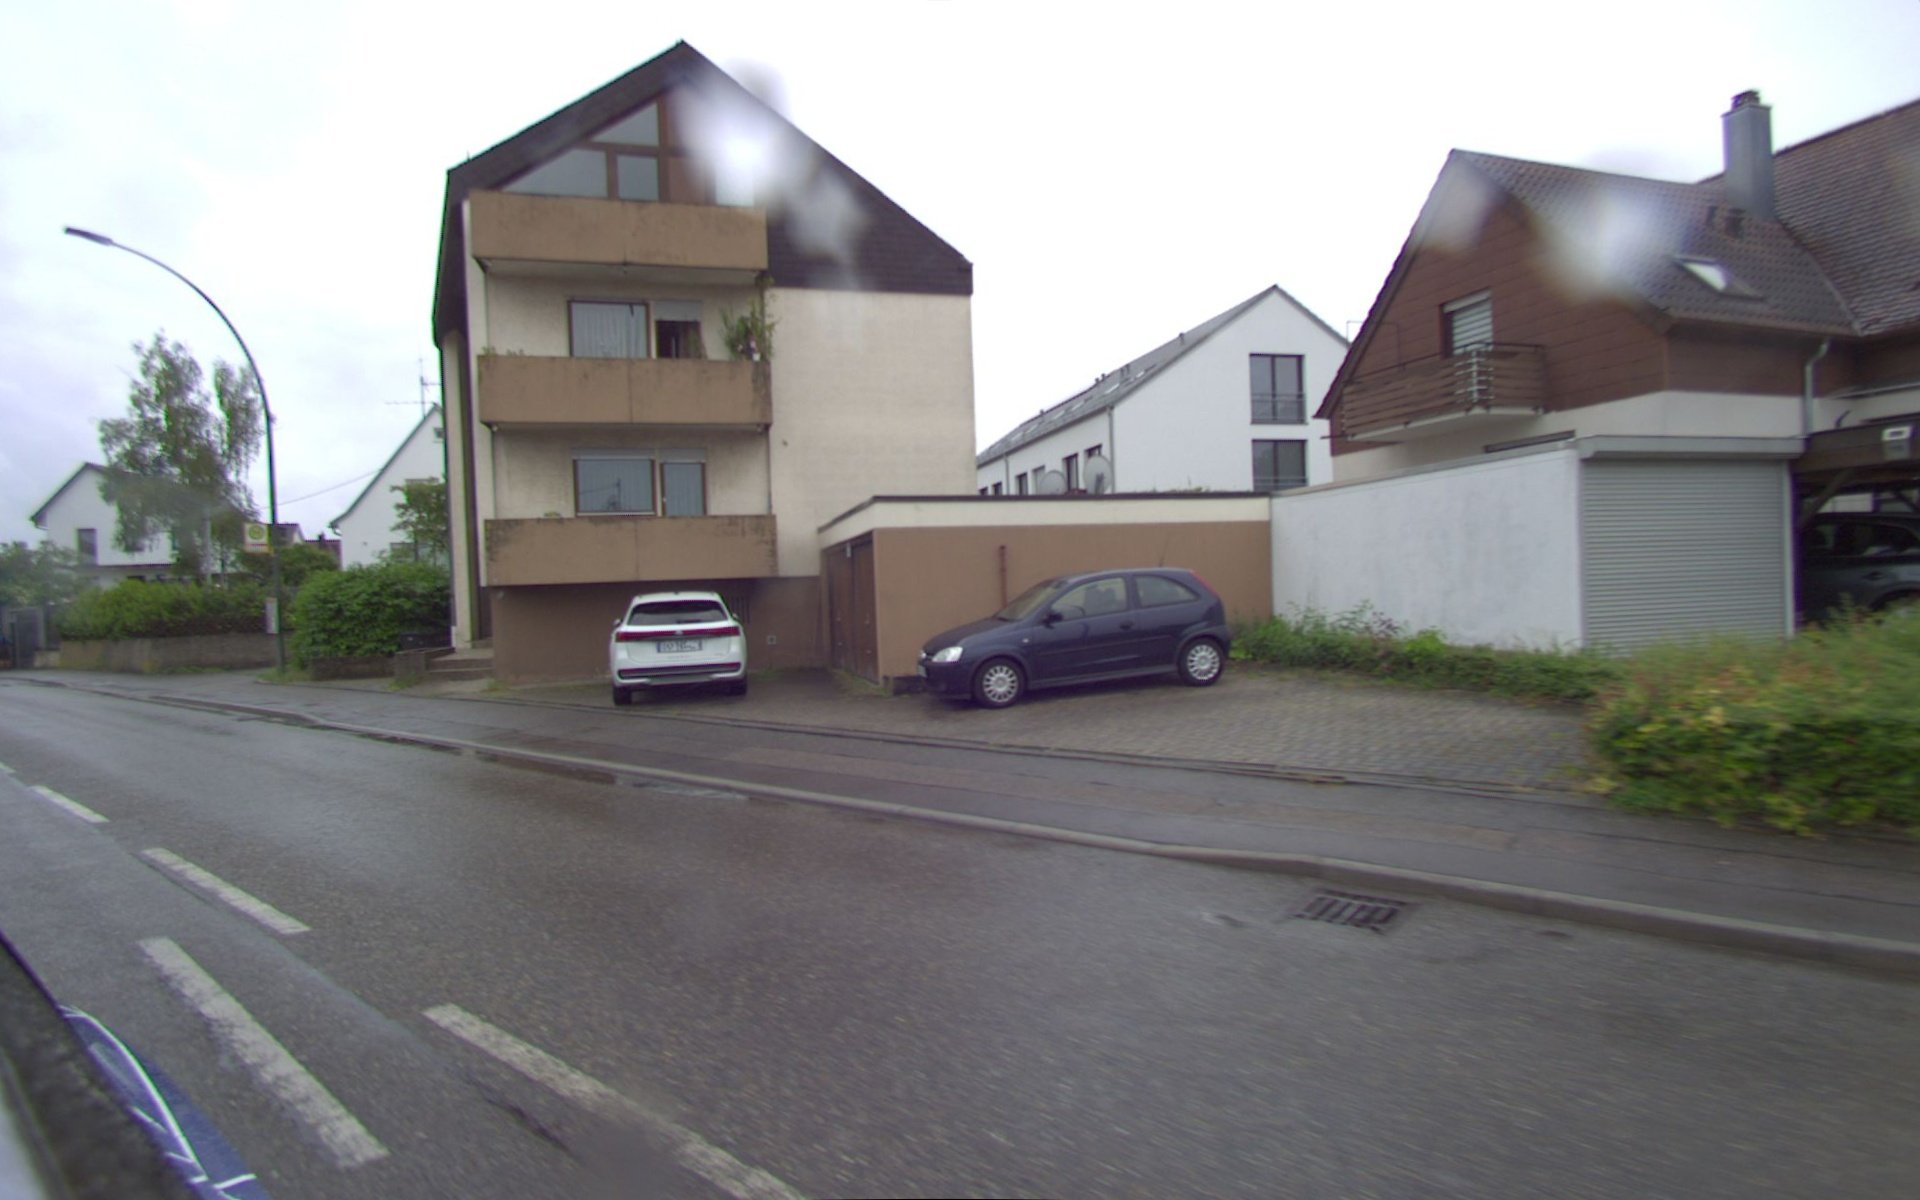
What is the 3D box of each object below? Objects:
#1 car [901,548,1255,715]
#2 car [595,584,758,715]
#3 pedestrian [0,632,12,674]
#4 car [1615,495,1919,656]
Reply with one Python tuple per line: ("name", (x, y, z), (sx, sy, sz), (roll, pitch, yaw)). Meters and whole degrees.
("car", (1.316, 0.306, 11.987), (3.713, 1.519, 1.706), (-5, 2, -11))
("car", (-4.212, 0.632, 14.990), (1.875, 1.488, 4.896), (-4, 0, -16))
("pedestrian", (-43.555, 2.398, 45.776), (0.669, 1.900, 0.812), (-2, -1, -20))
("car", (10.328, -0.257, 11.805), (1.966, 1.673, 4.012), (-1, -1, -31))
